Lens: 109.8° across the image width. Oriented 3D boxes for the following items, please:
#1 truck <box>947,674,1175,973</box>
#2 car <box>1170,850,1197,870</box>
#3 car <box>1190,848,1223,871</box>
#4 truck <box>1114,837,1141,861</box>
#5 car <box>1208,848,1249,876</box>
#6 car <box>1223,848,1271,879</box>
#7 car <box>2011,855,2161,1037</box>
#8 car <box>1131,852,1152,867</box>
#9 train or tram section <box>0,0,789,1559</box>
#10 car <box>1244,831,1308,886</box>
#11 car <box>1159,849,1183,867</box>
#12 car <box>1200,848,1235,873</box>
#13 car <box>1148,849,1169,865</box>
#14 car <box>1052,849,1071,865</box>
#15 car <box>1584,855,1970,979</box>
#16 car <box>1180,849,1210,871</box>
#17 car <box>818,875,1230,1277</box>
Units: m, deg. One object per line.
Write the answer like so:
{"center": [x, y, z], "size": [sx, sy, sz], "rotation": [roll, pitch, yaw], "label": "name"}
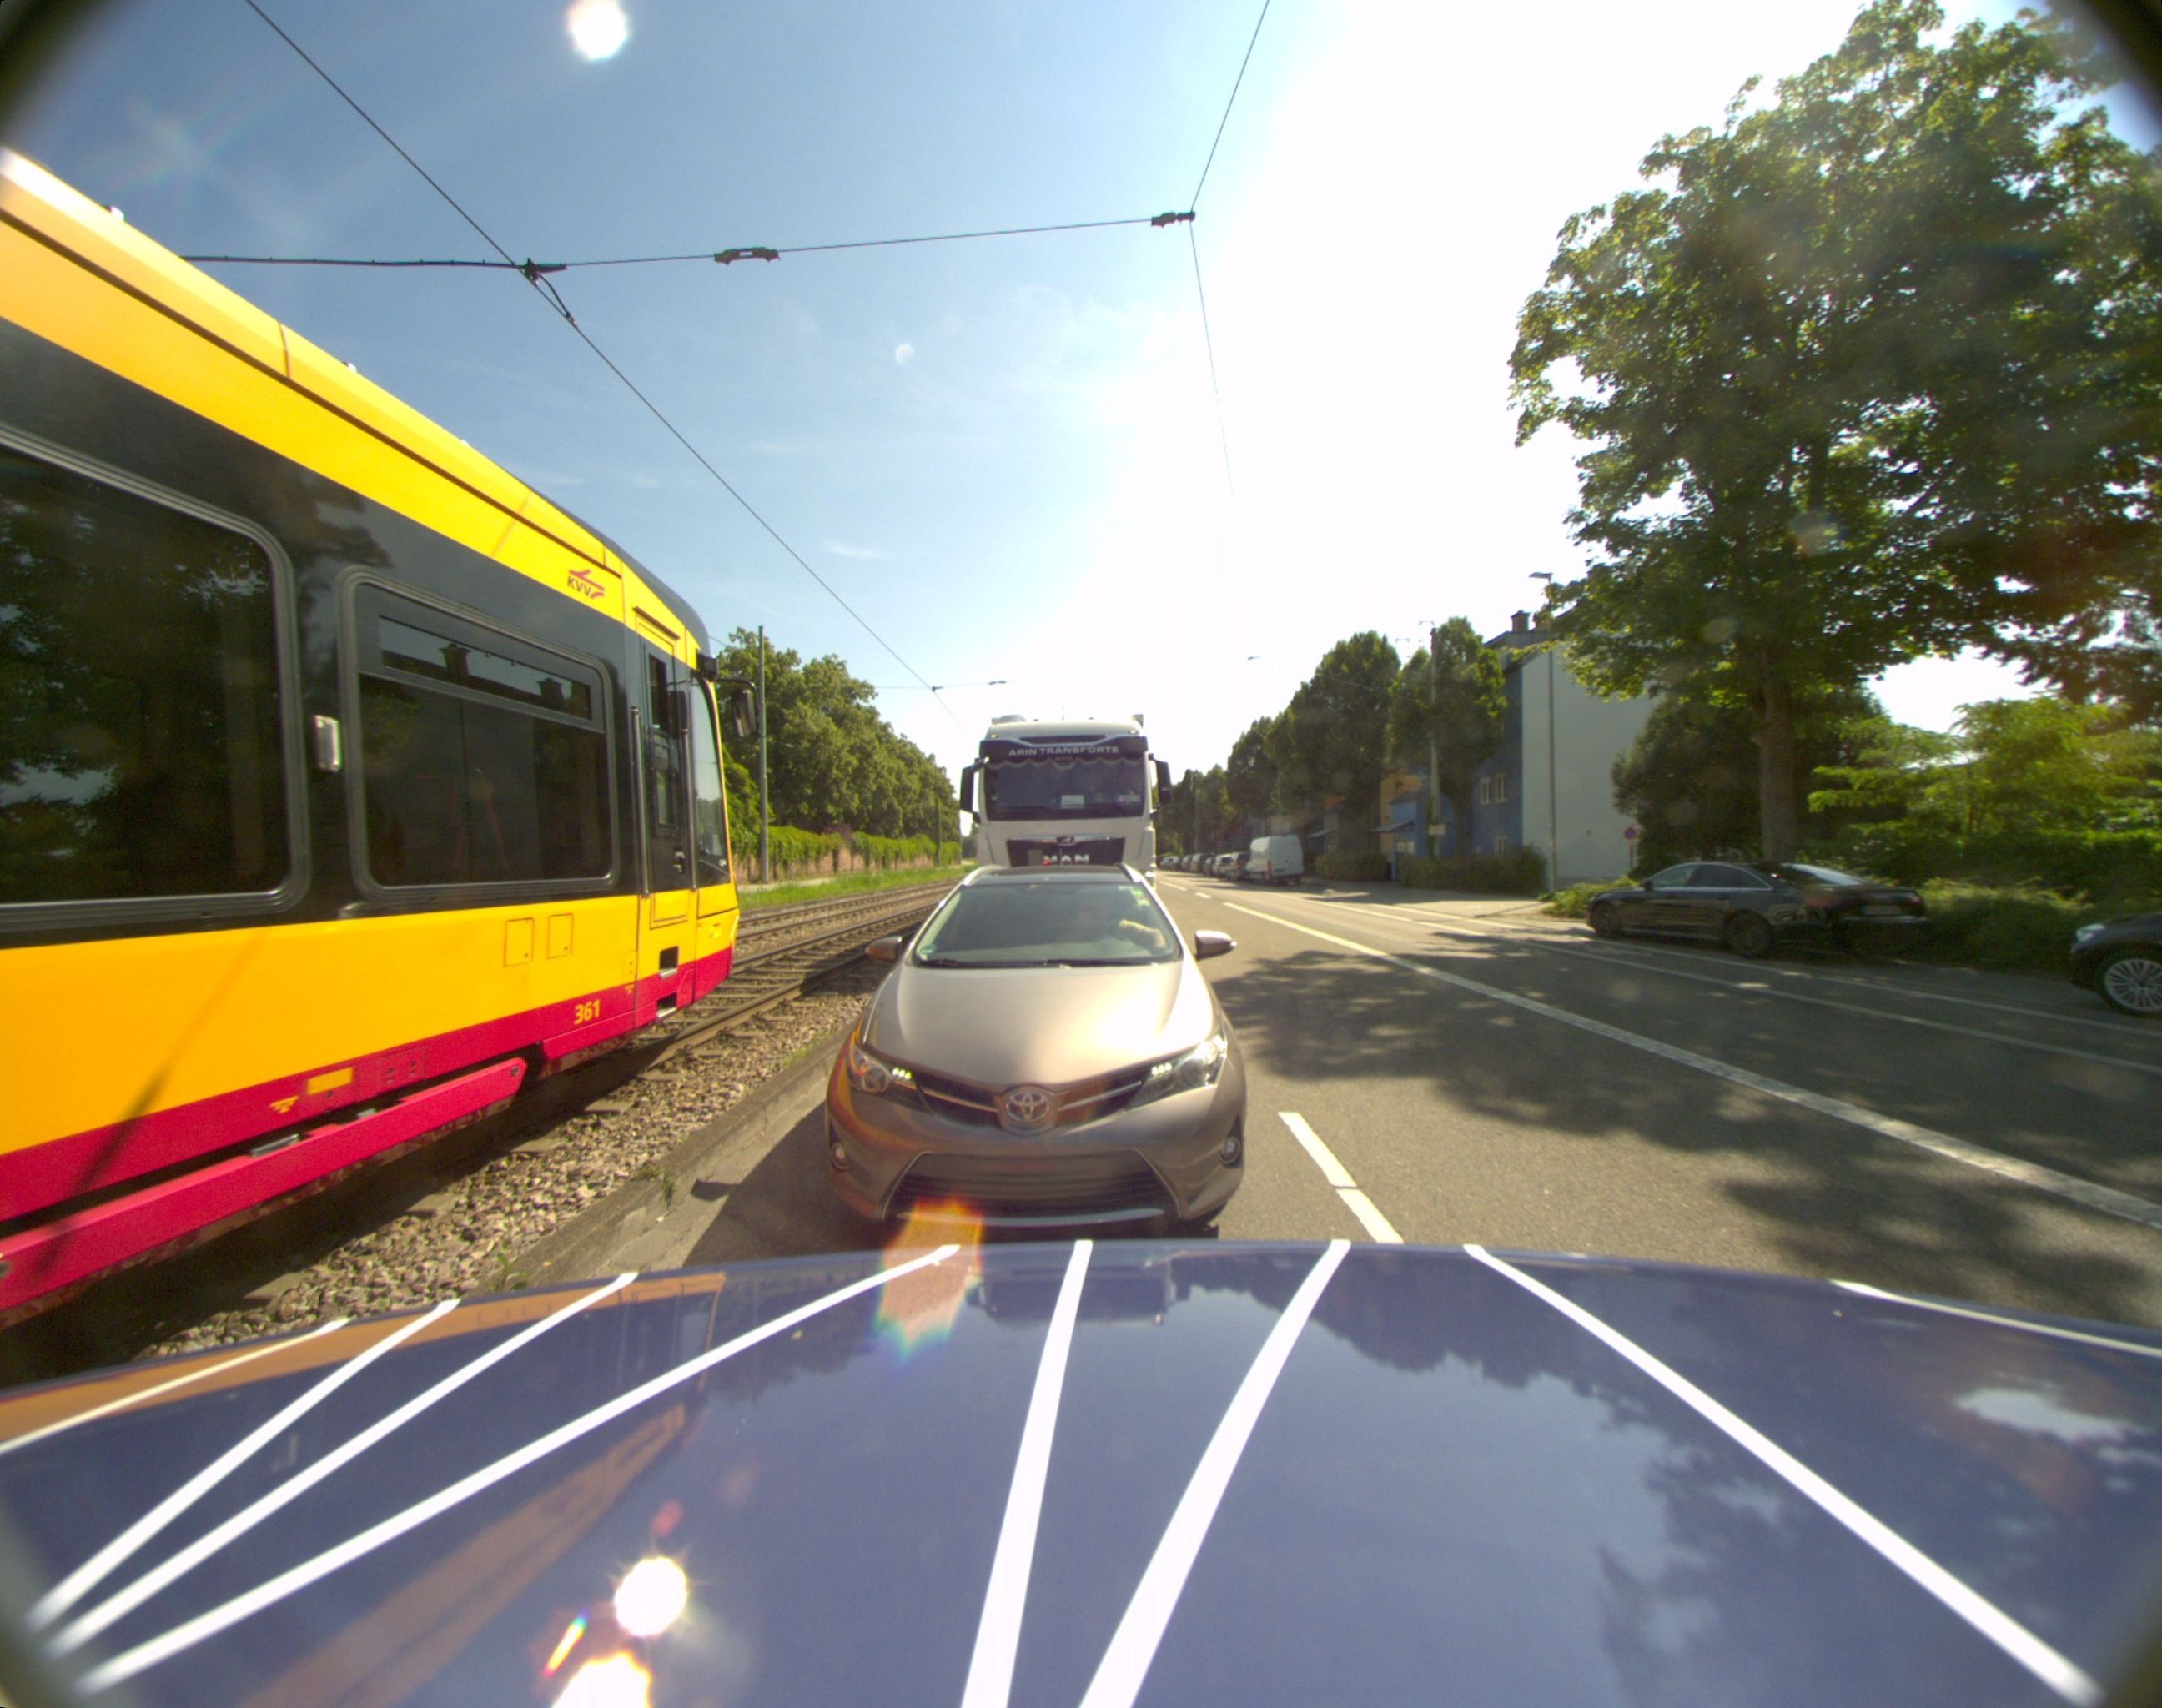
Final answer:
{"center": [-0.154, -0.412, 17.261], "size": [2.935, 3.856, 14.913], "rotation": [0, 0, 1], "label": "truck"}
{"center": [10.611, 0.623, 79.169], "size": [1.998, 1.795, 4.769], "rotation": [-6, 0, 0], "label": "car"}
{"center": [11.099, 0.496, 67.675], "size": [1.998, 1.795, 4.769], "rotation": [-6, 0, 0], "label": "car"}
{"center": [7.043, -0.690, 116.111], "size": [2.704, 3.263, 6.724], "rotation": [-6, 0, -5], "label": "truck"}
{"center": [11.099, 0.571, 57.340], "size": [1.998, 1.795, 4.769], "rotation": [-6, 0, 0], "label": "car"}
{"center": [11.164, 0.628, 51.449], "size": [1.998, 1.795, 4.769], "rotation": [-6, 0, 0], "label": "car"}
{"center": [10.588, 0.822, 5.572], "size": [1.868, 1.562, 4.621], "rotation": [-2, 0, 1], "label": "car"}
{"center": [8.331, 0.783, 105.573], "size": [1.999, 1.795, 5.111], "rotation": [-6, 0, -4], "label": "car"}
{"center": [-4.058, -0.216, 0.399], "size": [2.878, 3.833, 12.391], "rotation": [0, 0, 1], "label": "train or tram section"}
{"center": [10.932, 0.244, 43.153], "size": [1.998, 2.678, 6.214], "rotation": [-6, 0, 2], "label": "car"}
{"center": [10.176, 0.478, 85.913], "size": [1.998, 1.795, 4.769], "rotation": [-6, 0, 0], "label": "car"}
{"center": [11.254, 0.531, 62.864], "size": [1.998, 1.795, 4.256], "rotation": [-6, 0, 0], "label": "car"}
{"center": [9.904, 0.397, 96.909], "size": [1.998, 1.795, 4.769], "rotation": [-6, 0, 0], "label": "car"}
{"center": [-1.691, 0.252, 67.906], "size": [1.573, 1.422, 4.000], "rotation": [0, 0, 1], "label": "car"}
{"center": [10.567, 0.821, 12.162], "size": [1.868, 1.562, 4.621], "rotation": [-1, 0, -2], "label": "car"}
{"center": [10.997, 0.556, 73.380], "size": [1.998, 1.795, 4.769], "rotation": [-6, 0, 0], "label": "car"}
{"center": [-0.193, 0.905, 4.912], "size": [1.573, 1.422, 4.000], "rotation": [0, 0, 1], "label": "car"}
